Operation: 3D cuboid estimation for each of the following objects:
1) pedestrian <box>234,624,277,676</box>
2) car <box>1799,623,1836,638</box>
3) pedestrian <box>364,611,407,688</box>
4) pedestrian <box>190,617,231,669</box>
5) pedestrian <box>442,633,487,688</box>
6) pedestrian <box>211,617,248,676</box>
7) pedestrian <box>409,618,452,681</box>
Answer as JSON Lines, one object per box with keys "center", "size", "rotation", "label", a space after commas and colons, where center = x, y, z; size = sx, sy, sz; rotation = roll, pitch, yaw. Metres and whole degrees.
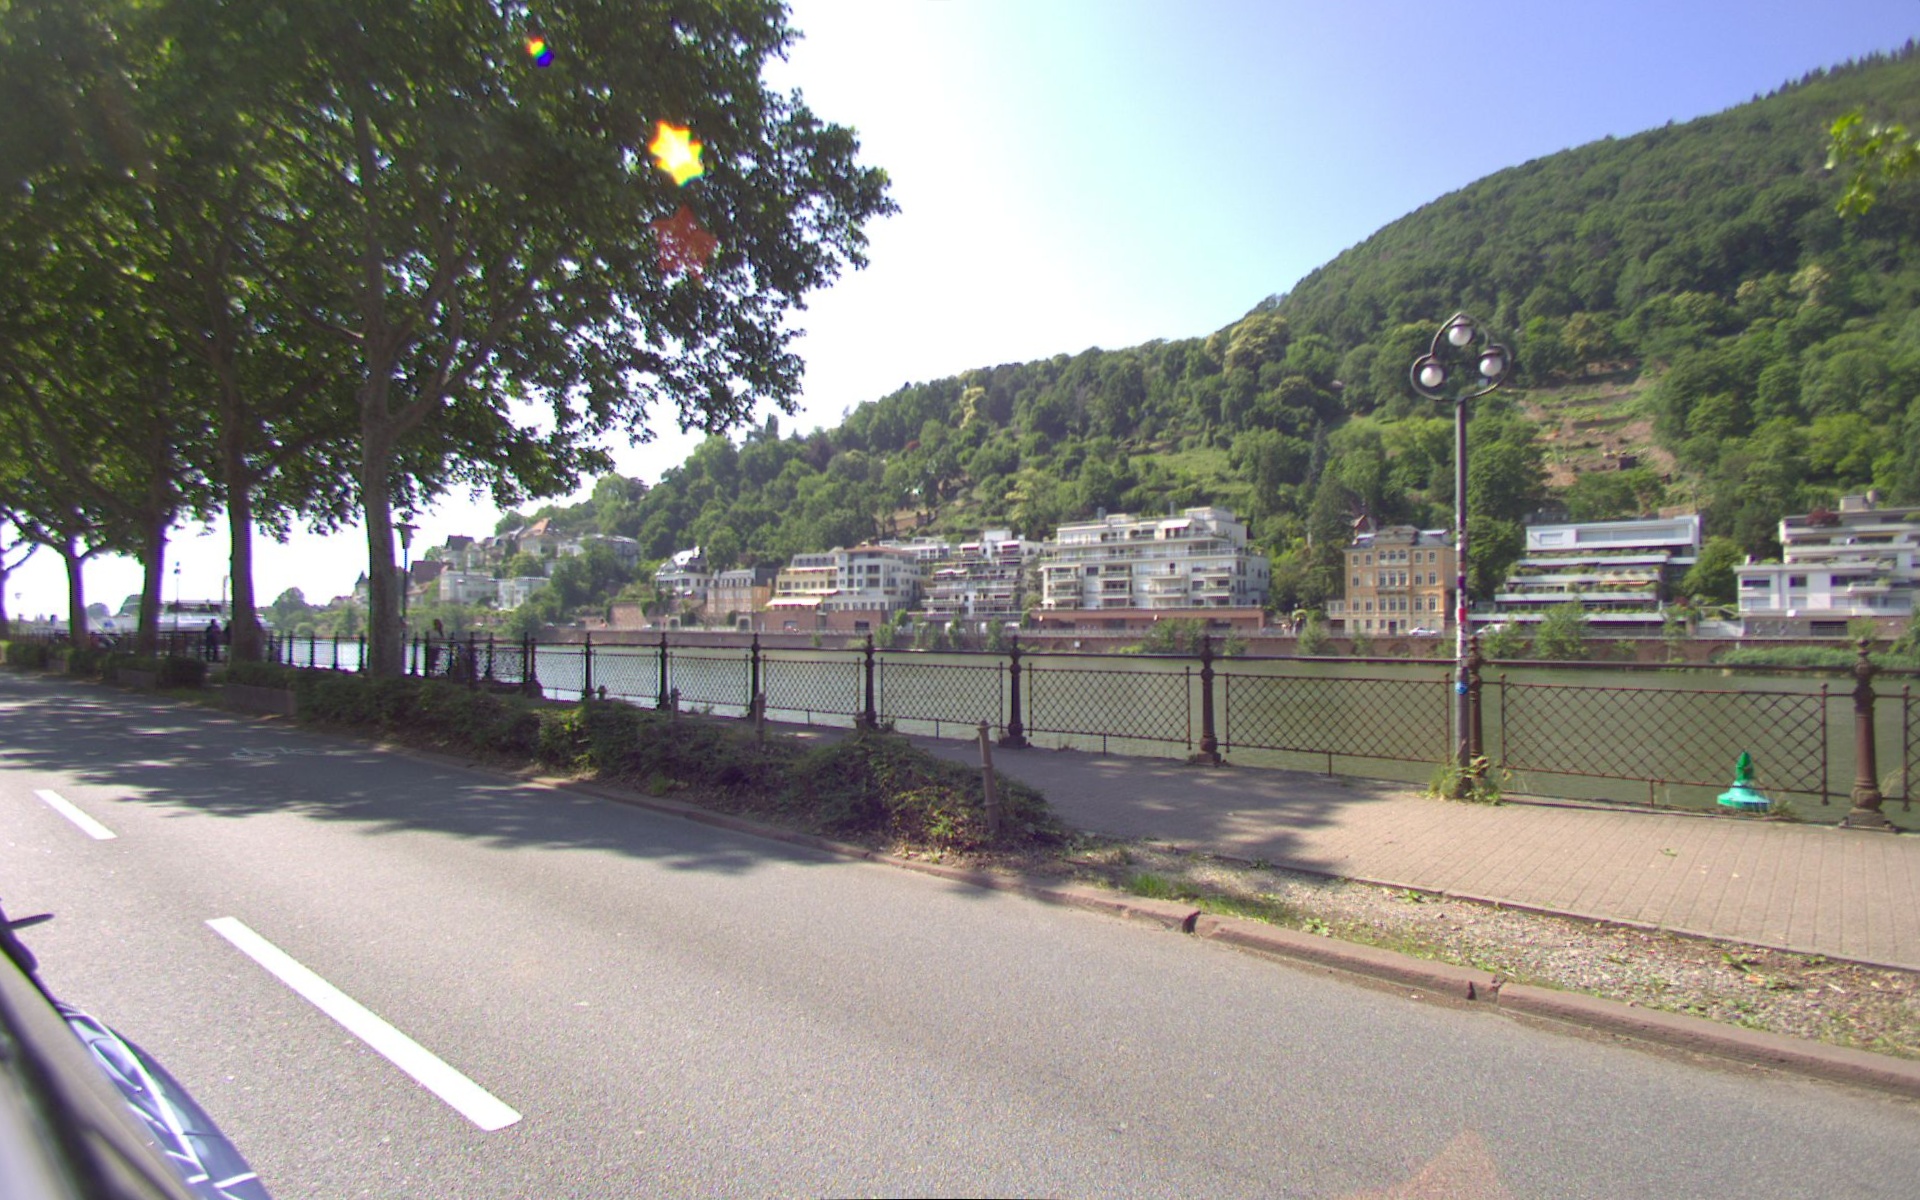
{"center": [-23.180, 1.625, 33.284], "size": [1.057, 1.647, 0.887], "rotation": [-1, 0, 38], "label": "pedestrian"}
{"center": [125.304, 4.497, 147.913], "size": [3.998, 2.029, 1.973], "rotation": [-2, -1, 41], "label": "car"}
{"center": [-14.536, 1.255, 25.595], "size": [0.756, 1.915, 0.771], "rotation": [3, -4, -42], "label": "pedestrian"}
{"center": [-30.118, 1.715, 40.671], "size": [1.032, 2.029, 1.038], "rotation": [-1, 0, -19], "label": "pedestrian"}
{"center": [-12.721, 1.541, 26.001], "size": [0.770, 1.398, 0.758], "rotation": [-2, -3, 40], "label": "pedestrian"}
{"center": [-23.735, 1.478, 32.875], "size": [0.928, 1.863, 0.796], "rotation": [-1, 0, 41], "label": "pedestrian"}
{"center": [-15.102, 1.409, 28.874], "size": [0.829, 1.771, 0.767], "rotation": [-2, -4, 40], "label": "pedestrian"}
